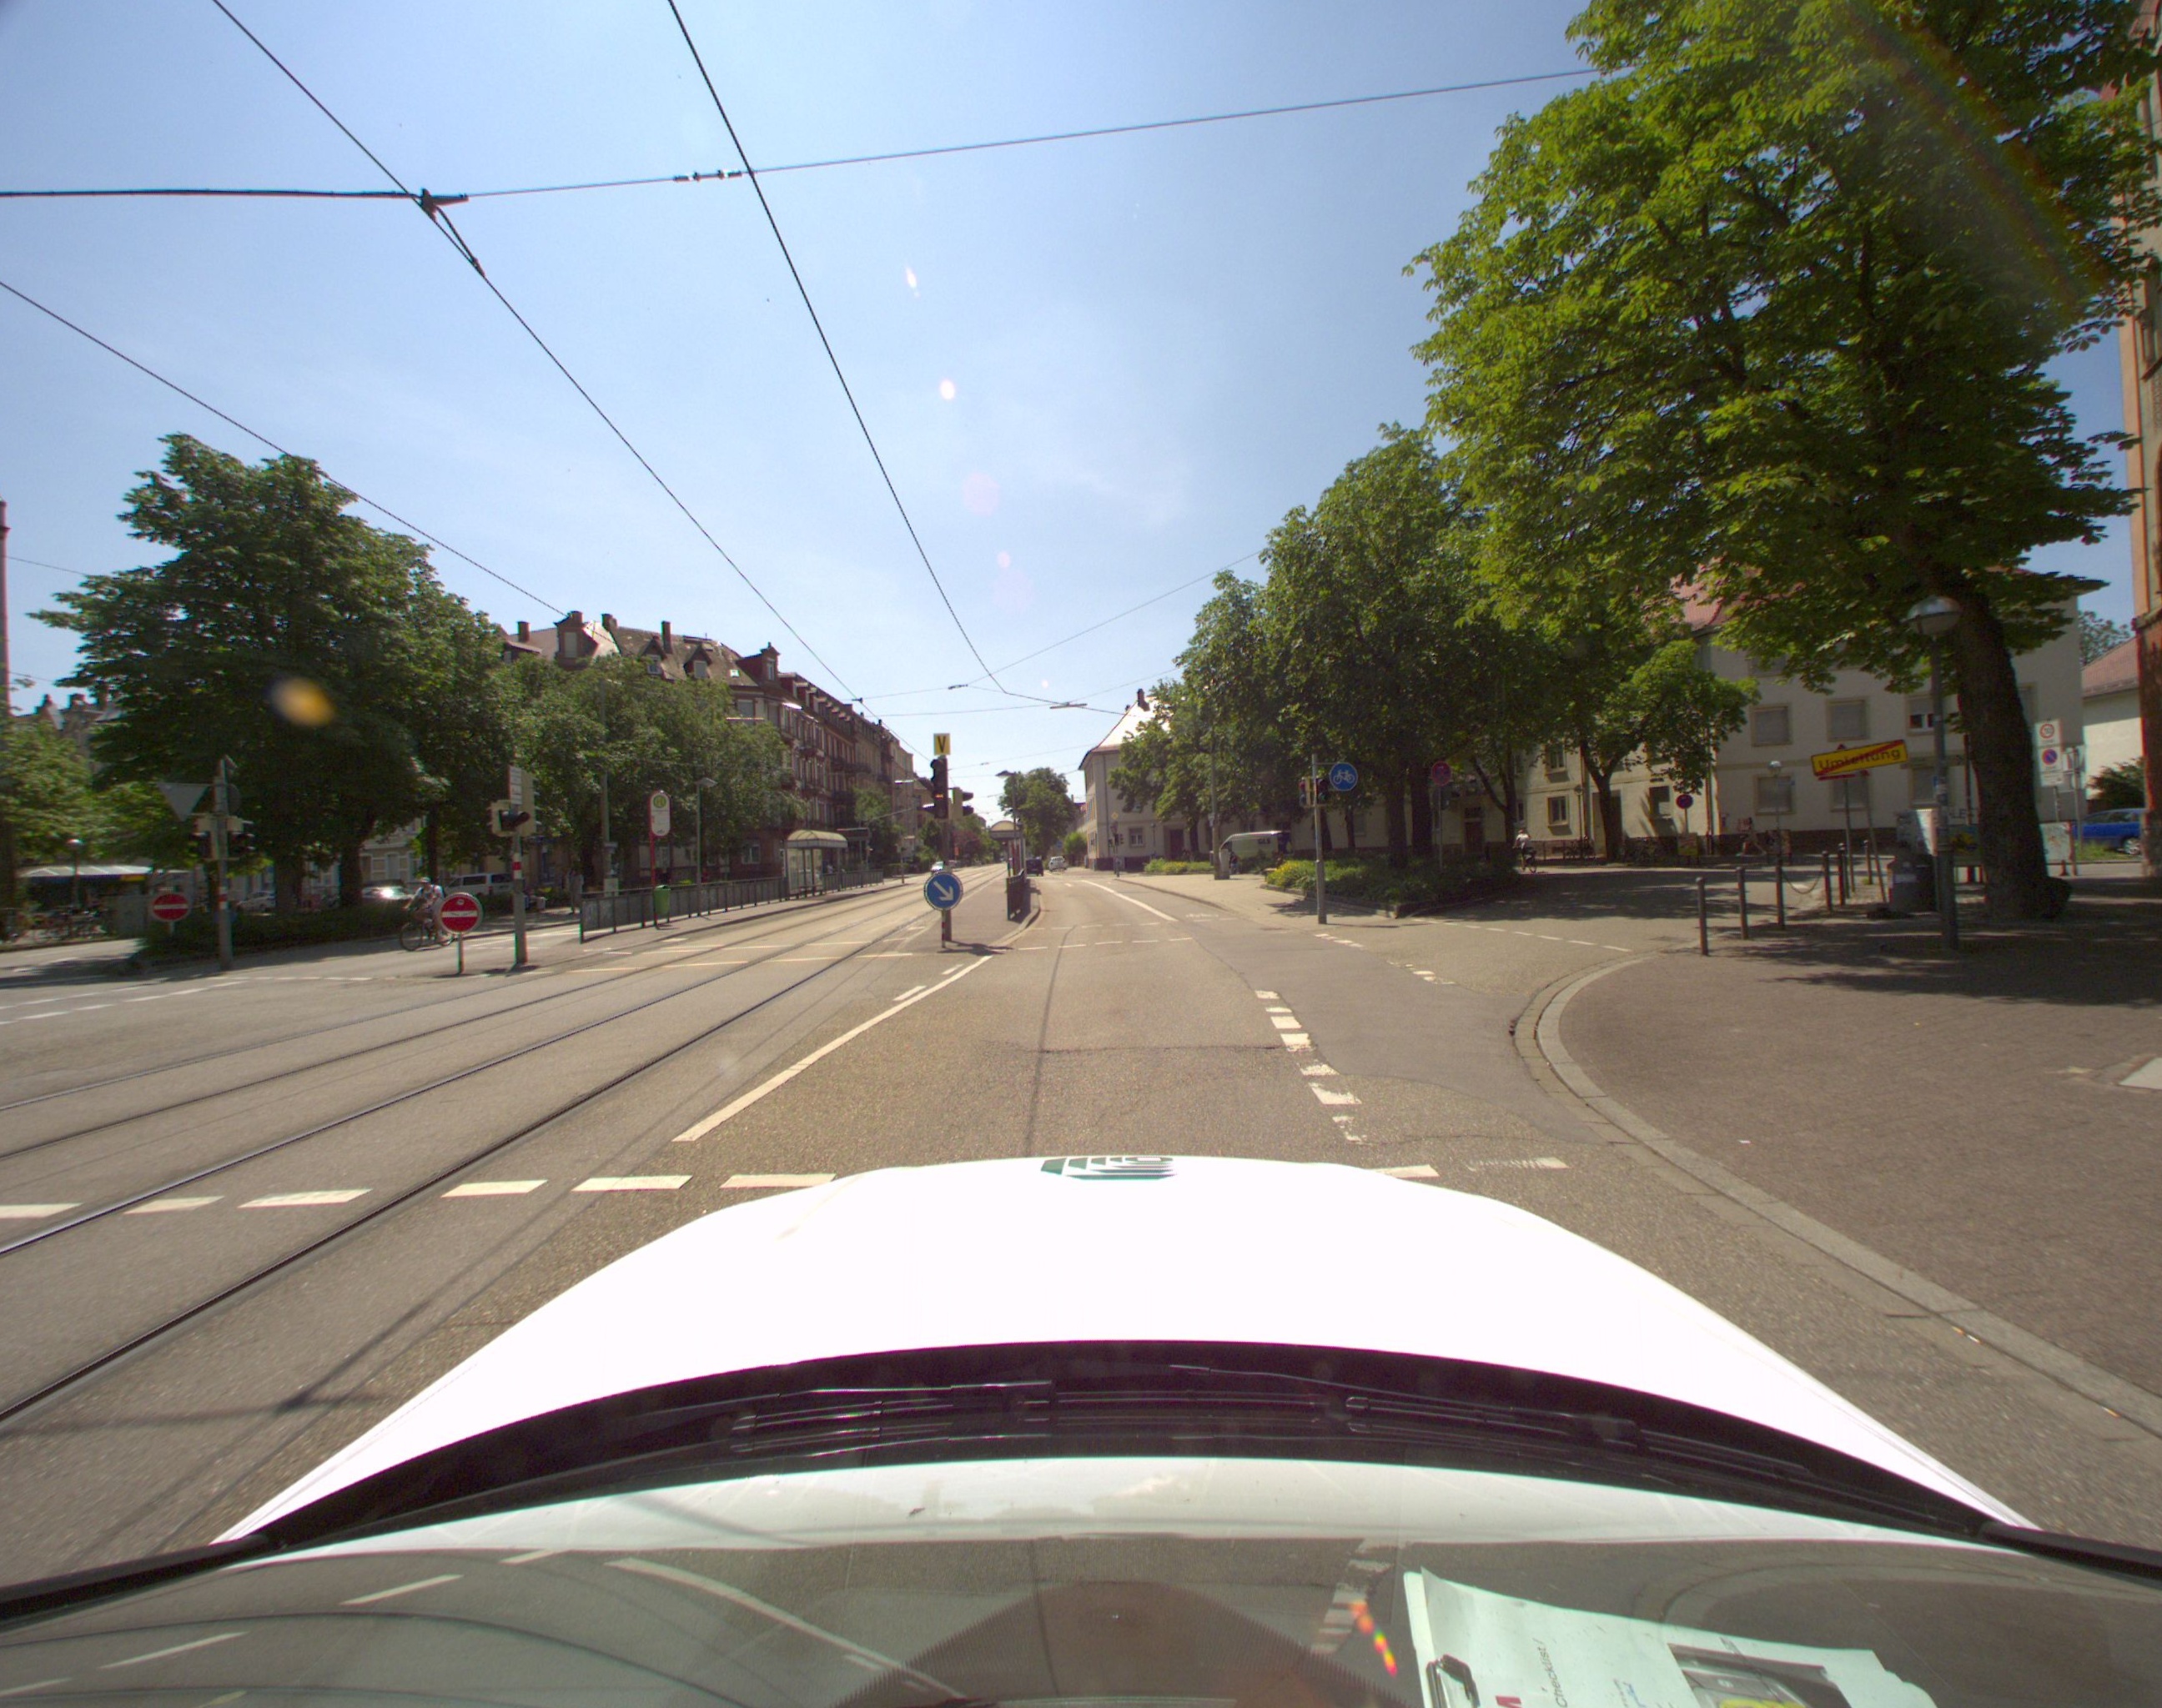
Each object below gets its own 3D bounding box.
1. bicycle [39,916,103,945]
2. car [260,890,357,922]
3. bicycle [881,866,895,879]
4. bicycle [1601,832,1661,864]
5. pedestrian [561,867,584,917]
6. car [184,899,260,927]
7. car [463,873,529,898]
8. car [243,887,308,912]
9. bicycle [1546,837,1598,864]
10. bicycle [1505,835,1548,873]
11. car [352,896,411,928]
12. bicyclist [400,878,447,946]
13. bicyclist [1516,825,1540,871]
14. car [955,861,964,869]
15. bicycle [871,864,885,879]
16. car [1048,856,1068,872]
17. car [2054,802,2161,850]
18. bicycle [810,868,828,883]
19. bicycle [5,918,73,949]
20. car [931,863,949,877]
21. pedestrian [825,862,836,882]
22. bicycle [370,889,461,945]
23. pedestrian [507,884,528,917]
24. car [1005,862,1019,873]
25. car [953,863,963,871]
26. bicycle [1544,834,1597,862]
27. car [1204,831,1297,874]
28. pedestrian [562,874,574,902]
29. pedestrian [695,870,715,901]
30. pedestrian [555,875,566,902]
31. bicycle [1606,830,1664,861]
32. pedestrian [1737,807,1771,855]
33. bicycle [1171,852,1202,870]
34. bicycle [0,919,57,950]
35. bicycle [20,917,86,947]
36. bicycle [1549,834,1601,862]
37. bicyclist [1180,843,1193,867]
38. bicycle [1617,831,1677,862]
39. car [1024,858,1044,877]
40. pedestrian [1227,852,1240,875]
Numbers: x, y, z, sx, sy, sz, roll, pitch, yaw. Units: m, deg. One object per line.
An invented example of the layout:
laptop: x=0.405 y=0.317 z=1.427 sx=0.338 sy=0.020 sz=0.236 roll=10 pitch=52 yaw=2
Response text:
bicycle: x=-36.416 y=2.754 z=29.376 sx=1.488 sy=0.956 sz=0.407 roll=-2 pitch=-1 yaw=-15
car: x=-40.687 y=2.715 z=42.907 sx=3.713 sy=1.442 sz=1.543 roll=-2 pitch=-1 yaw=3
bicycle: x=-19.987 y=1.922 z=84.307 sx=0.595 sy=1.356 sz=2.416 roll=-2 pitch=-1 yaw=-31
bicycle: x=23.974 y=-0.240 z=35.522 sx=2.140 sy=1.300 sz=0.548 roll=-2 pitch=-1 yaw=7
pedestrian: x=-19.508 y=1.437 z=31.272 sx=0.509 sy=1.879 sz=0.494 roll=-2 pitch=-1 yaw=0
car: x=-47.762 y=3.279 z=45.288 sx=3.698 sy=1.442 sz=1.549 roll=-2 pitch=-1 yaw=20
car: x=-37.648 y=2.033 z=52.422 sx=3.698 sy=1.442 sz=1.549 roll=-2 pitch=-1 yaw=20
car: x=-59.361 y=3.363 z=60.015 sx=3.953 sy=1.618 sz=1.769 roll=-3 pitch=0 yaw=20
bicycle: x=24.691 y=-0.176 z=40.961 sx=2.140 sy=1.300 sz=0.548 roll=-2 pitch=-1 yaw=7
bicycle: x=18.213 y=0.019 z=33.372 sx=0.589 sy=1.485 sz=2.169 roll=-2 pitch=0 yaw=2
car: x=-38.181 y=3.160 z=44.428 sx=3.541 sy=1.575 sz=1.593 roll=-2 pitch=-1 yaw=35
bicyclist: x=-15.766 y=1.381 z=19.534 sx=0.607 sy=1.574 sz=0.584 roll=-2 pitch=-1 yaw=-4
bicyclist: x=18.161 y=-0.240 z=33.102 sx=0.599 sy=1.799 sz=0.534 roll=-2 pitch=-1 yaw=1
car: x=-25.246 y=2.315 z=169.051 sx=1.627 sy=1.472 sz=3.555 roll=-6 pitch=0 yaw=-7
bicycle: x=-19.648 y=1.699 z=78.900 sx=0.618 sy=1.395 sz=2.285 roll=-2 pitch=-1 yaw=-31
car: x=-2.370 y=1.029 z=84.125 sx=1.744 sy=1.472 sz=3.931 roll=-6 pitch=0 yaw=-5
car: x=33.717 y=-0.902 z=25.831 sx=1.709 sy=1.429 sz=3.905 roll=-2 pitch=1 yaw=15
bicycle: x=-22.493 y=1.829 z=69.978 sx=0.360 sy=1.169 sz=1.529 roll=-1 pitch=1 yaw=33
bicycle: x=-36.159 y=2.744 z=28.262 sx=1.488 sy=0.956 sz=0.407 roll=-2 pitch=-1 yaw=-15
car: x=-14.875 y=1.682 z=86.127 sx=1.538 sy=1.338 sz=3.712 roll=-2 pitch=-1 yaw=-6
pedestrian: x=-20.848 y=1.506 z=67.766 sx=0.464 sy=1.615 sz=0.657 roll=1 pitch=2 yaw=43
bicycle: x=-15.786 y=1.464 z=19.389 sx=0.627 sy=1.157 sz=1.975 roll=-2 pitch=0 yaw=-4
pedestrian: x=-22.170 y=1.841 z=32.064 sx=0.553 sy=1.256 sz=0.638 roll=-1 pitch=-1 yaw=-44
car: x=-9.728 y=1.858 z=114.599 sx=1.525 sy=1.456 sz=3.354 roll=-4 pitch=0 yaw=-9
car: x=-24.242 y=2.581 z=160.905 sx=1.683 sy=1.472 sz=3.929 roll=-6 pitch=0 yaw=-7
bicycle: x=25.245 y=-0.314 z=42.011 sx=2.308 sy=1.344 sz=0.516 roll=-2 pitch=-1 yaw=7
car: x=11.132 y=-0.052 z=53.916 sx=2.012 sy=2.590 sz=5.778 roll=-2 pitch=0 yaw=-44
pedestrian: x=-33.968 y=2.233 z=53.913 sx=0.566 sy=1.825 sz=0.630 roll=-2 pitch=-1 yaw=-26
pedestrian: x=-19.578 y=1.628 z=42.420 sx=0.679 sy=1.605 sz=0.771 roll=-2 pitch=-1 yaw=-8
pedestrian: x=-34.704 y=2.298 z=54.328 sx=0.509 sy=1.768 sz=0.524 roll=-2 pitch=-1 yaw=-26
bicycle: x=25.248 y=-0.373 z=37.163 sx=2.140 sy=1.300 sz=0.548 roll=-2 pitch=-1 yaw=7
pedestrian: x=28.700 y=-0.975 z=34.742 sx=0.800 sy=2.014 sz=0.776 roll=-2 pitch=-1 yaw=12
bicycle: x=7.512 y=0.499 z=57.975 sx=2.061 sy=1.236 sz=0.584 roll=-2 pitch=-1 yaw=29
bicycle: x=-35.972 y=2.747 z=27.678 sx=1.488 sy=0.956 sz=0.407 roll=-2 pitch=-1 yaw=-15
bicycle: x=-36.318 y=2.750 z=28.777 sx=1.488 sy=0.956 sz=0.407 roll=-2 pitch=-1 yaw=-15
bicycle: x=25.145 y=-0.316 z=41.452 sx=2.224 sy=1.347 sz=0.516 roll=-2 pitch=-1 yaw=7
bicyclist: x=7.504 y=0.056 z=57.970 sx=0.687 sy=1.646 sz=0.584 roll=-2 pitch=-1 yaw=29
bicycle: x=25.176 y=-0.319 z=36.267 sx=2.140 sy=1.300 sz=0.548 roll=-2 pitch=-1 yaw=7
car: x=-3.872 y=1.106 z=67.429 sx=1.522 sy=1.444 sz=3.360 roll=-4 pitch=0 yaw=-4
pedestrian: x=7.551 y=0.470 z=40.388 sx=0.507 sy=1.092 sz=0.478 roll=-4 pitch=1 yaw=1
